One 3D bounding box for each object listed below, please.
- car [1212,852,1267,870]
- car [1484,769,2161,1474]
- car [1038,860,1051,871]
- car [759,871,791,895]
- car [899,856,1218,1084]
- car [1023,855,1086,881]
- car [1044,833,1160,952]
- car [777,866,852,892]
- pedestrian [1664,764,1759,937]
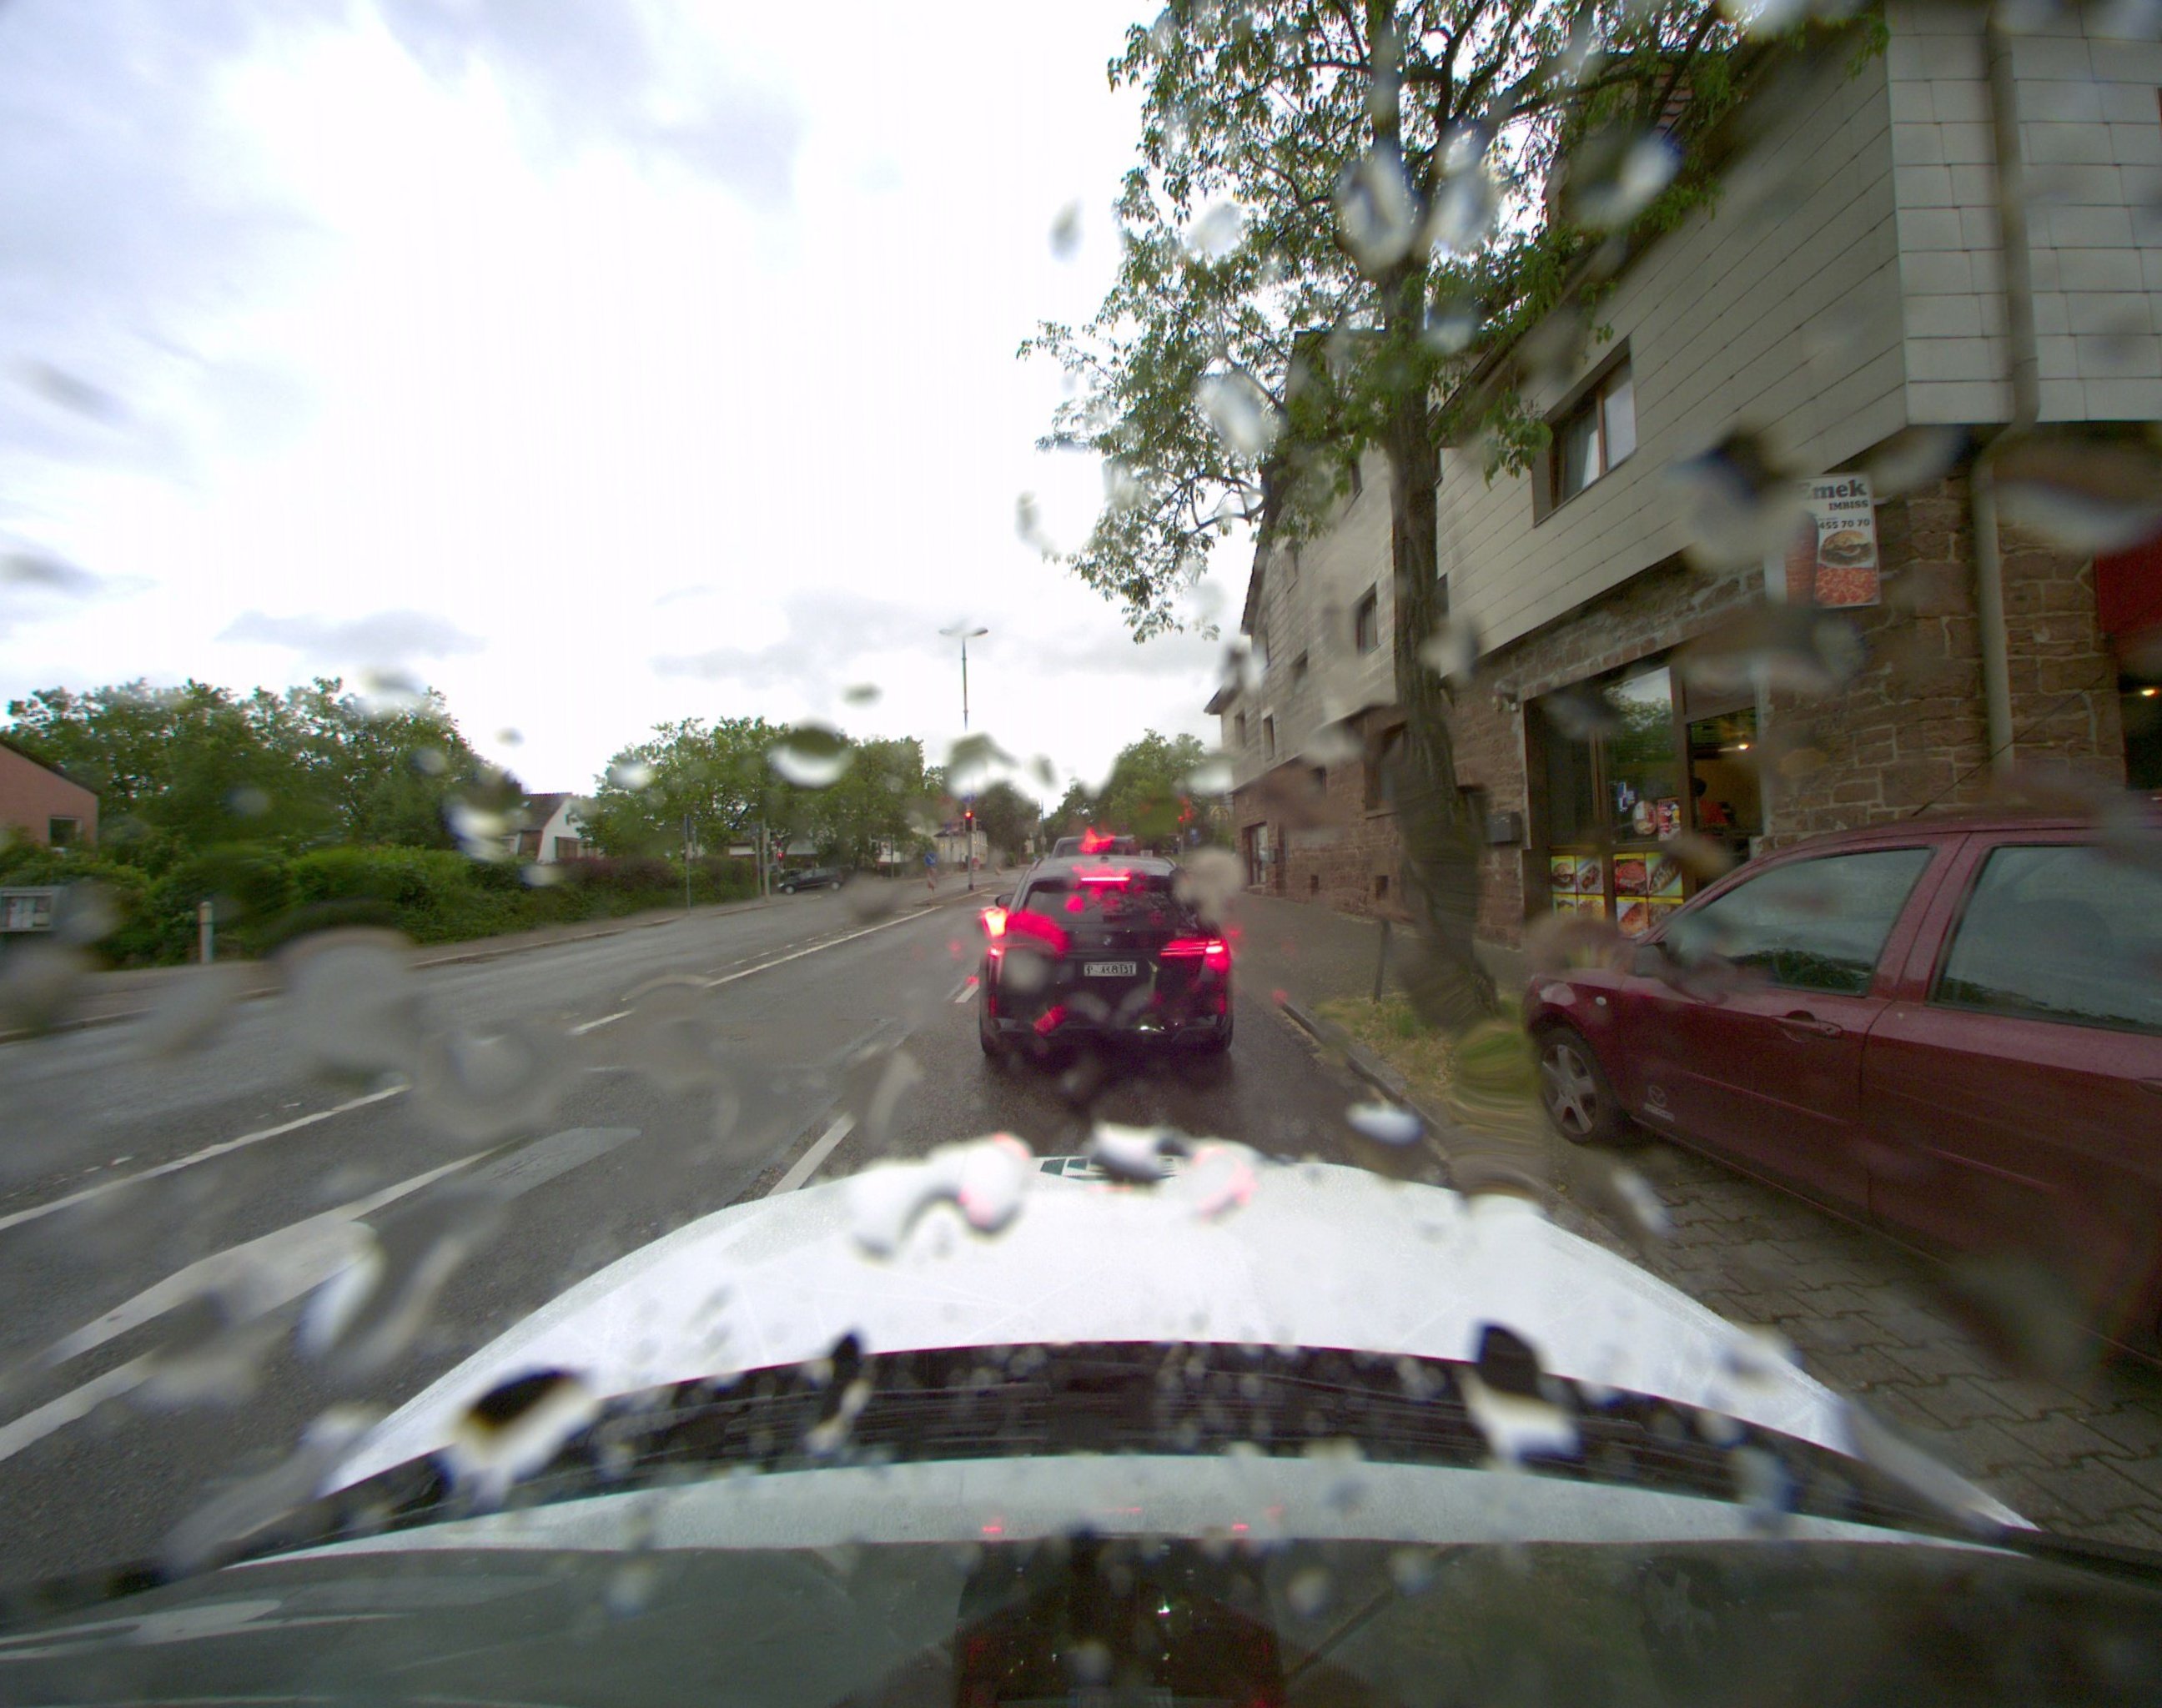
[{"bbox_3d":[12.033,0.525,62.076,3.968,1.288,1.851,-1,0,5],"label":"car"},{"bbox_3d":[3.038,0.514,2.620,1.579,1.490,3.626,-5,0,0],"label":"car"},{"bbox_3d":[-4.814,1.547,108.643,1.459,1.398,3.322,-1,0,1],"label":"car"},{"bbox_3d":[-21.658,2.018,57.711,2.000,1.552,3.973,-1,0,-20],"label":"car"},{"bbox_3d":[-0.164,0.758,7.531,2.058,1.446,4.481,-1,0,-1],"label":"car"},{"bbox_3d":[-1.723,0.893,53.258,1.974,1.510,3.980,-1,0,38],"label":"car"},{"bbox_3d":[0.322,0.594,14.780,1.778,1.817,3.999,-1,0,0],"label":"car"},{"bbox_3d":[-17.137,1.582,52.551,4.479,1.587,2.059,-1,0,-17],"label":"car"},{"bbox_3d":[6.914,-0.041,8.950,0.635,1.839,0.483,-1,0,1],"label":"pedestrian"}]
